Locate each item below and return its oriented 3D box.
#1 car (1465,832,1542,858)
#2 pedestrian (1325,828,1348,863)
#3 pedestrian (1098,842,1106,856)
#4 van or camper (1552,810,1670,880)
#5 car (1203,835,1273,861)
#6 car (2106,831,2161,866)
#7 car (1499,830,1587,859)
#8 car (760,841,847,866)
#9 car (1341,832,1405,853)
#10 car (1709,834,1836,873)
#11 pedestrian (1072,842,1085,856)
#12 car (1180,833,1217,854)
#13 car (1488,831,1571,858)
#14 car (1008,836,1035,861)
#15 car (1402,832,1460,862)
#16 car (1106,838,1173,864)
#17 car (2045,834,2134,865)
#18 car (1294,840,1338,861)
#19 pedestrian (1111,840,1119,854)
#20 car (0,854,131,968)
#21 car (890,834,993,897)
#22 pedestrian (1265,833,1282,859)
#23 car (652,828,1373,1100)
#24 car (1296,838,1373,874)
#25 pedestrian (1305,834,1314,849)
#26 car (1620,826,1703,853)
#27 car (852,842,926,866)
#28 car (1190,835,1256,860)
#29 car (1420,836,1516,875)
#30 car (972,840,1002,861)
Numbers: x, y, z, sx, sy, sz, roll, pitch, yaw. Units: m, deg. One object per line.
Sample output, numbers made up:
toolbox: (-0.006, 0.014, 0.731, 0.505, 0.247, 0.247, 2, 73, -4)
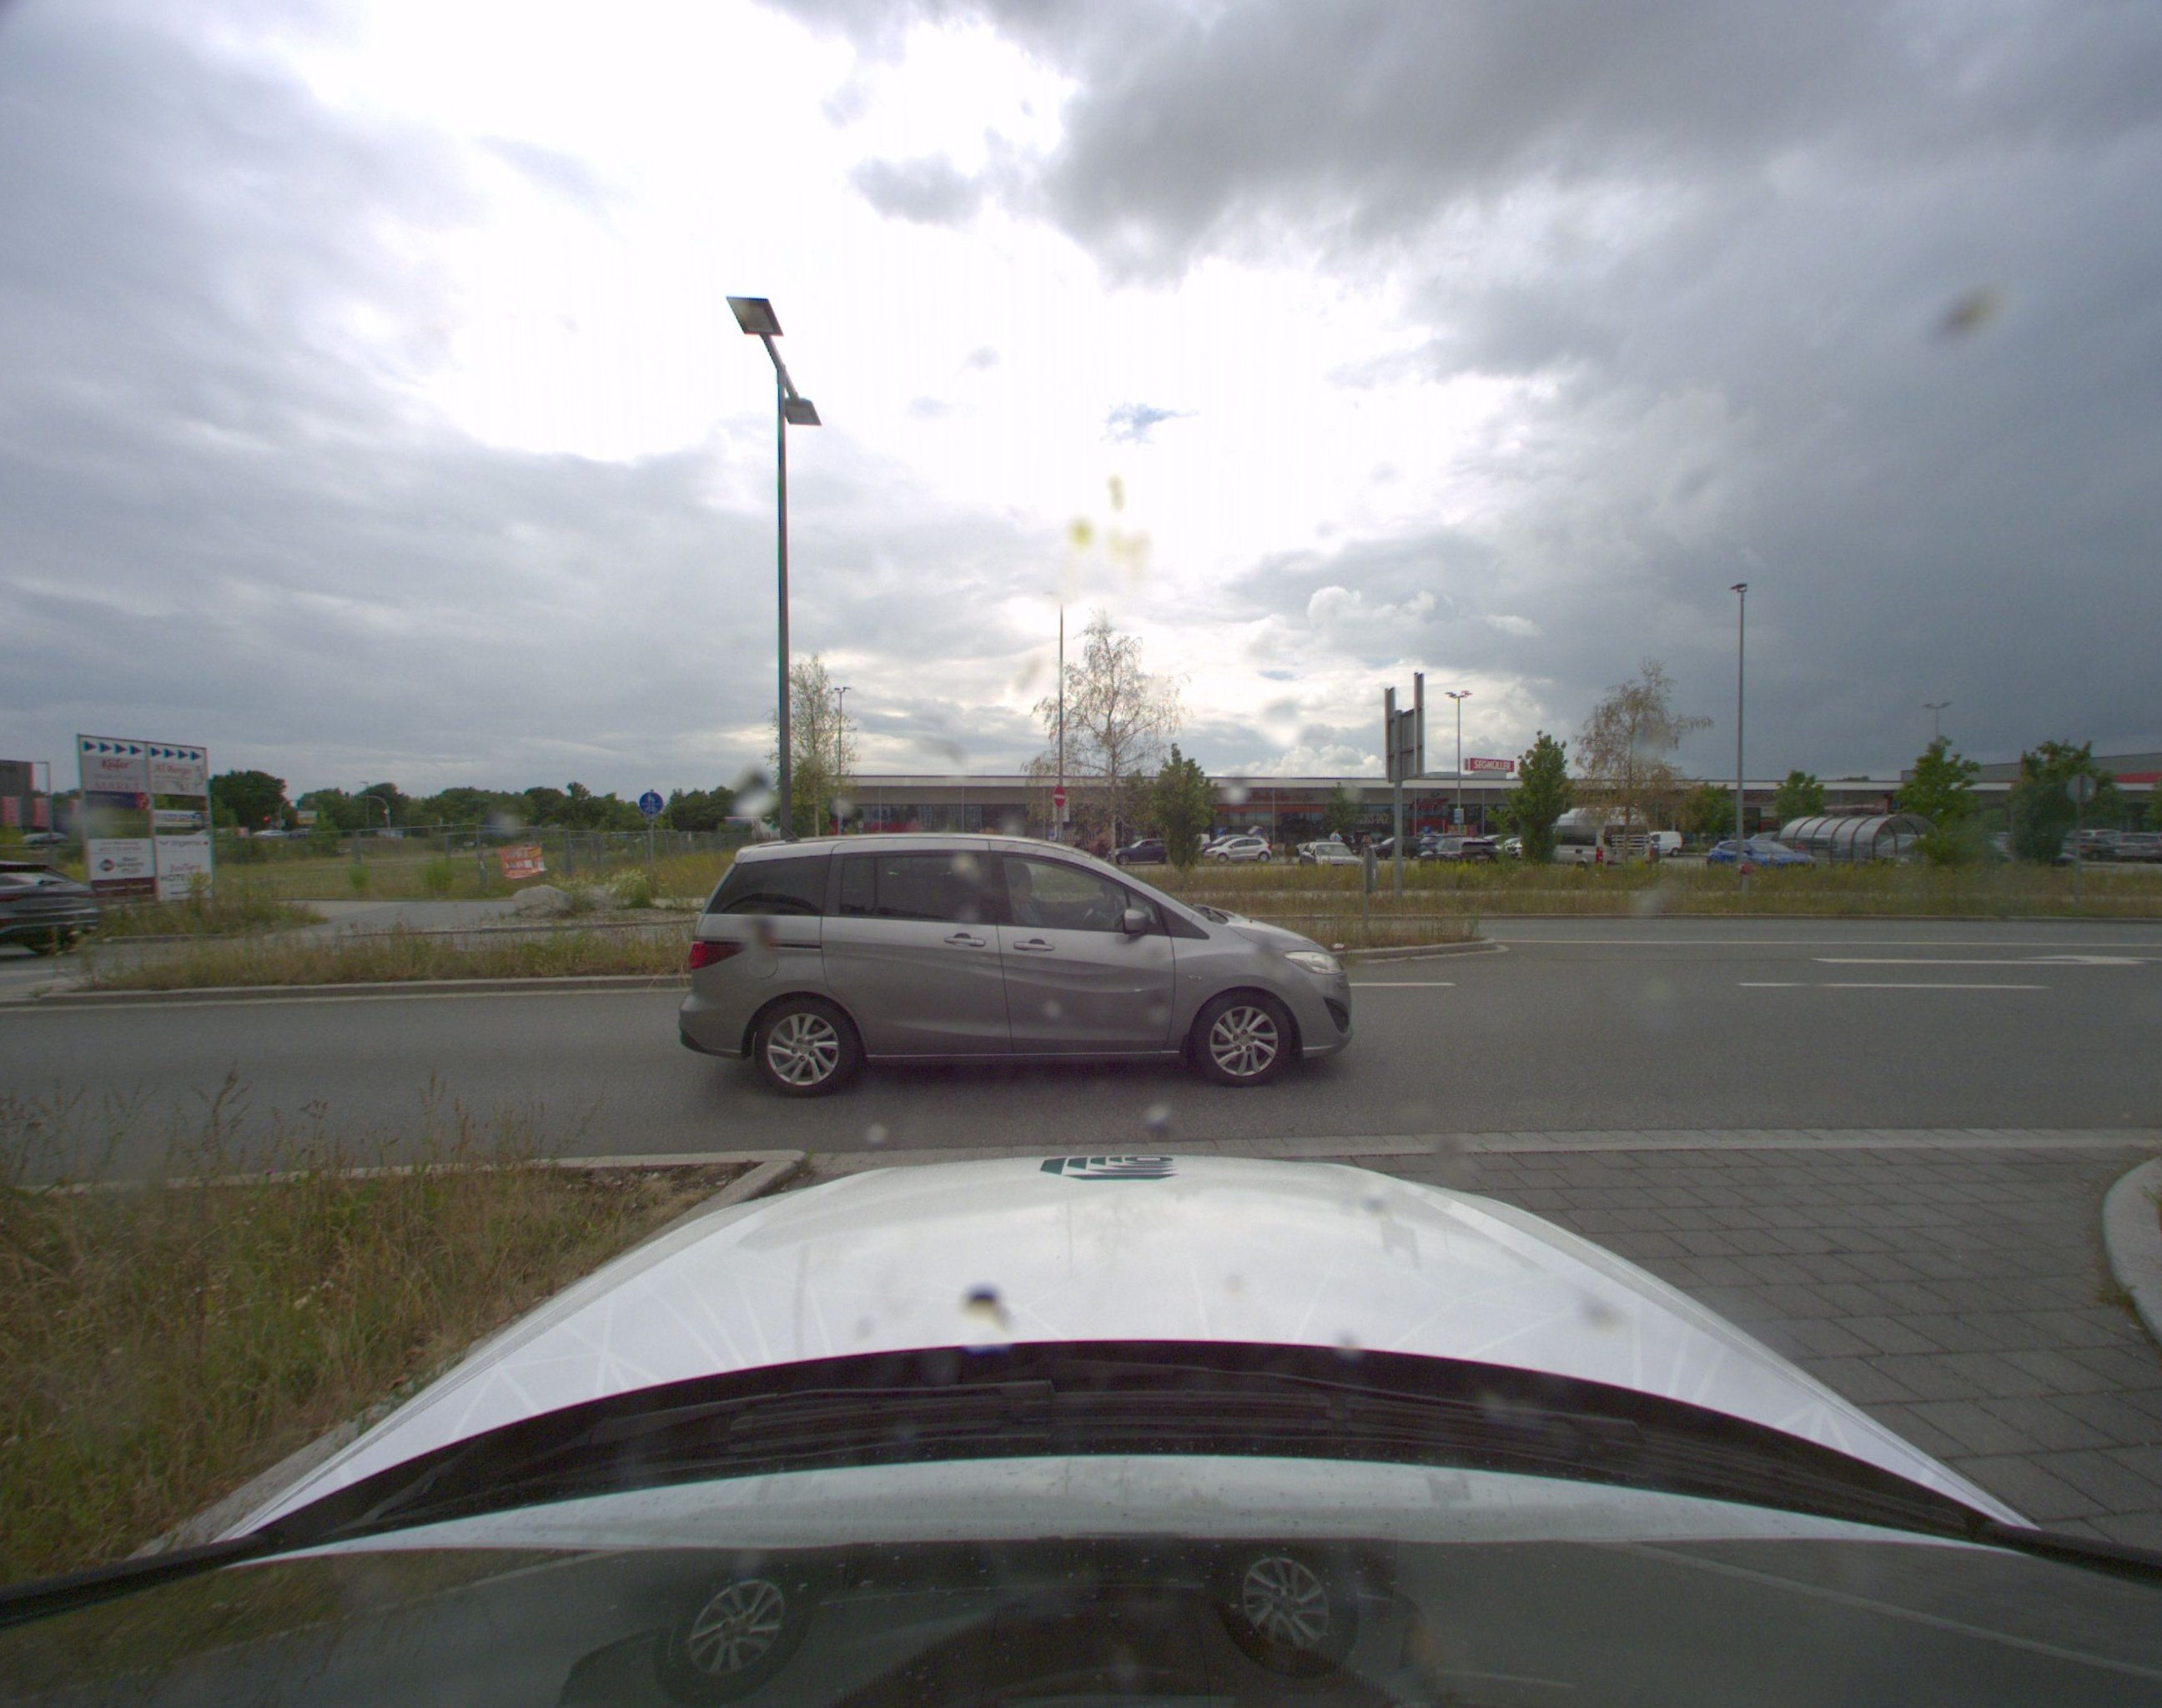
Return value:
car: (27.293, -0.615, 52.677, 3.971, 1.618, 2.002, 0, 1, 2)
pedestrian: (14.710, -0.487, 46.817, 0.866, 2.013, 0.998, -1, 1, -15)
pedestrian: (1.763, -0.429, 68.489, 0.576, 1.124, 0.560, -1, 1, -9)
van or camper: (20.038, -0.352, 31.017, 2.270, 2.492, 4.009, 0, 1, 8)
car: (9.116, -0.381, 47.395, 3.742, 1.454, 1.665, 0, 1, -6)
car: (57.475, -0.329, 43.485, 3.993, 1.733, 1.991, -1, 2, -14)
car: (26.781, -0.540, 47.298, 3.971, 1.618, 2.002, 0, 1, 2)
car: (-17.656, -0.054, 52.049, 5.008, 1.557, 1.993, 0, 1, -10)
car: (21.573, -0.870, 60.286, 3.980, 1.508, 1.997, 0, 1, -5)
car: (26.749, -0.046, 31.697, 1.794, 1.384, 4.159, 0, 1, 7)
pedestrian: (-0.200, -0.426, 68.734, 0.970, 1.154, 1.130, -1, 1, -7)
car: (8.710, -0.789, 60.771, 1.989, 1.508, 3.995, 0, 1, -4)
car: (27.394, -0.583, 49.827, 3.971, 1.618, 2.002, 0, 1, 2)
car: (-4.255, -0.425, 58.858, 1.820, 1.699, 4.230, 0, 2, -3)
car: (20.291, -0.452, 47.400, 1.807, 1.653, 4.004, 0, 1, 3)
car: (3.312, -0.179, 46.398, 3.603, 1.454, 1.664, 0, 1, -7)
car: (57.048, -0.261, 46.094, 3.830, 1.653, 1.755, -1, 1, -15)
car: (17.739, -0.300, 61.652, 1.989, 1.508, 3.996, 0, 1, -4)
pedestrian: (2.802, -0.563, 67.649, 0.576, 1.124, 0.560, -1, 1, -9)
car: (-16.637, 0.769, 11.279, 4.307, 1.466, 1.792, 0, 1, -10)
car: (-3.498, 0.202, 21.311, 1.773, 1.445, 4.612, 0, 2, 2)
pedestrian: (11.912, -0.485, 50.461, 0.819, 1.631, 0.899, 0, 0, -1)
car: (-0.390, 0.629, 5.899, 4.377, 1.562, 1.819, -1, 2, -3)
car: (10.136, 0.044, 32.937, 1.981, 1.384, 4.152, 0, 1, 2)
pedestrian: (19.336, -1.059, 68.989, 0.559, 1.201, 0.527, -1, 1, -6)
car: (38.889, -0.960, 54.585, 4.412, 1.818, 1.994, 0, 1, -9)
car: (-11.054, -0.034, 47.105, 3.985, 1.352, 1.994, 0, 1, -9)
car: (8.736, -0.420, 50.301, 3.742, 1.454, 1.665, 0, 1, -6)
car: (15.294, 0.022, 32.453, 1.981, 1.451, 4.152, 0, 1, 2)
car: (-6.692, -0.282, 58.451, 1.902, 1.443, 3.996, -1, 1, -3)
